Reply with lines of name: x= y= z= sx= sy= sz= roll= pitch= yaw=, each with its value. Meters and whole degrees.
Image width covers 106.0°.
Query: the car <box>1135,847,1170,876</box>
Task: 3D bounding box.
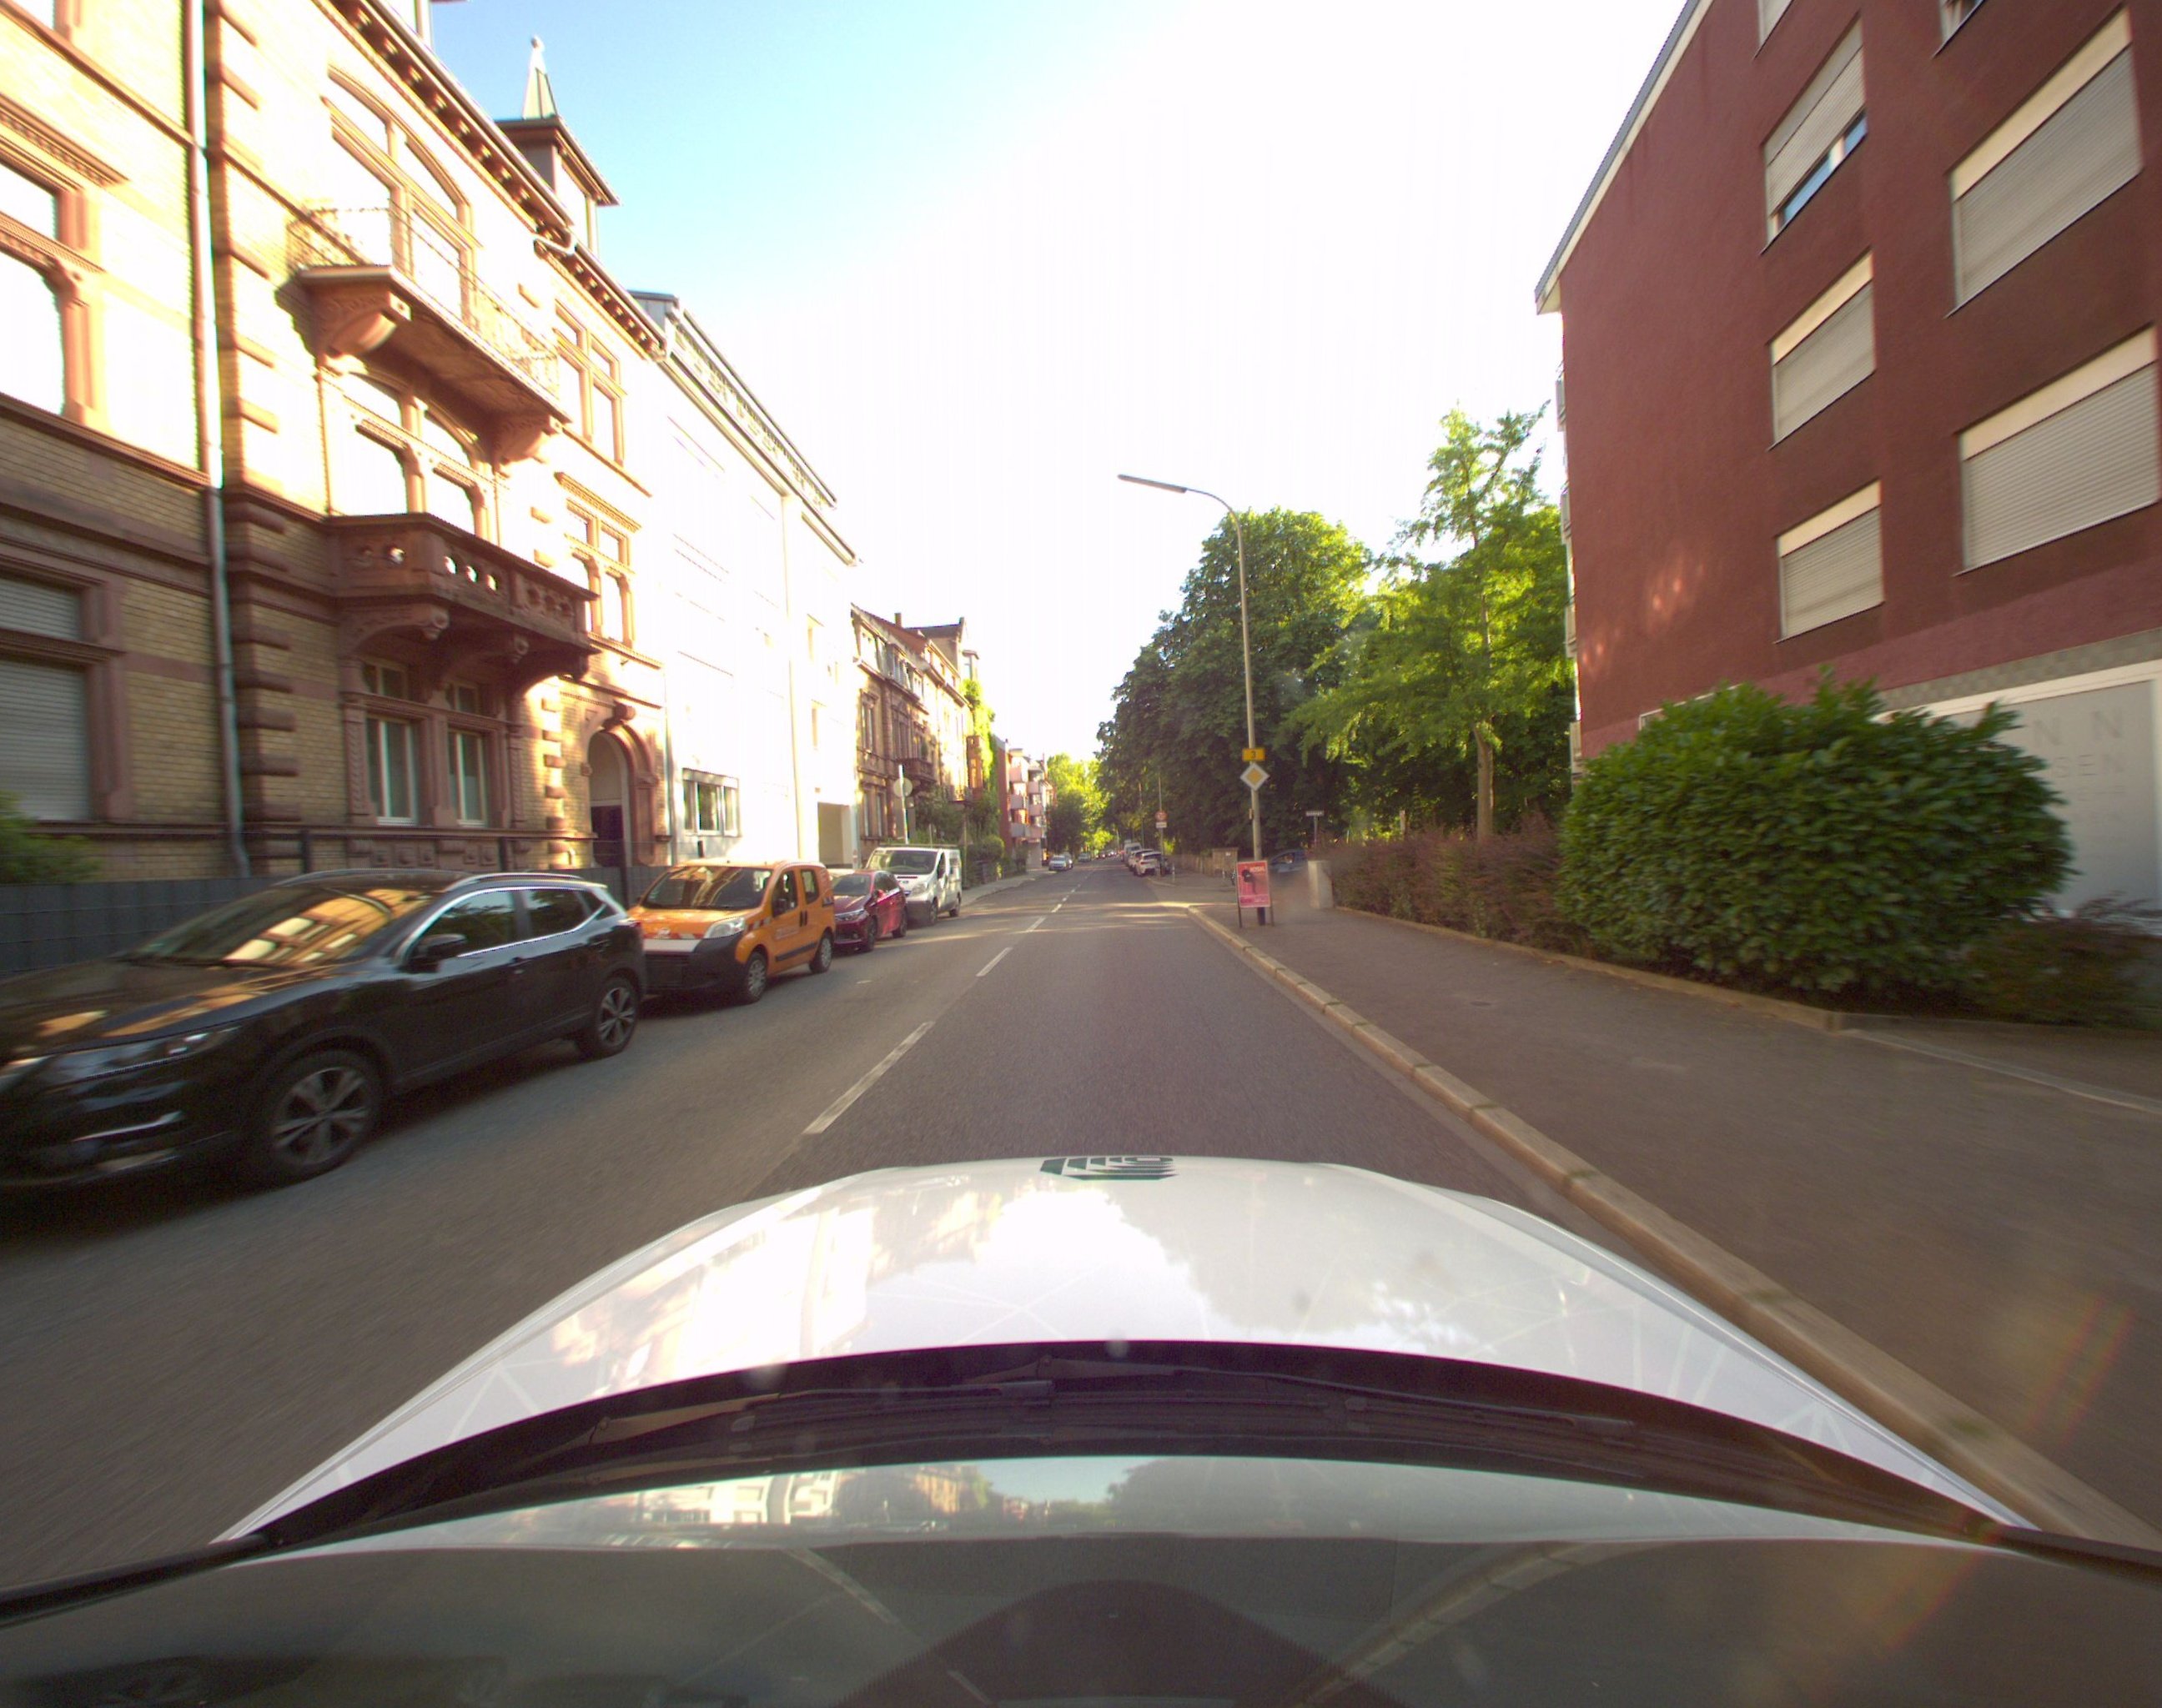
car: x=4.366 y=0.437 z=50.410 sx=1.985 sy=1.517 sz=4.004 roll=-3 pitch=1 yaw=3

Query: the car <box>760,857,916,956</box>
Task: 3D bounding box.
car: x=-4.559 y=0.899 z=15.930 sx=1.696 sy=1.619 sz=4.118 roll=-1 pitch=0 yaw=1

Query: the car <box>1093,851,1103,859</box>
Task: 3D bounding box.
car: x=3.725 y=0.118 z=176.698 sx=1.986 sy=1.491 sz=4.473 roll=-3 pitch=1 yaw=2

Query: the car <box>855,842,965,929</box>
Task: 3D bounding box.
car: x=-4.361 y=0.722 z=21.553 sx=1.786 sy=2.010 sz=4.698 roll=-1 pitch=0 yaw=1

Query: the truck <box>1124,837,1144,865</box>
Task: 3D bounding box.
truck: x=5.946 y=-0.395 z=91.584 sx=1.986 sy=2.896 sz=4.472 roll=-3 pitch=1 yaw=2

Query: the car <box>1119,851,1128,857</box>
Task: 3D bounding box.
car: x=11.145 y=0.020 z=215.806 sx=1.988 sy=1.491 sz=4.469 roll=-3 pitch=1 yaw=-1

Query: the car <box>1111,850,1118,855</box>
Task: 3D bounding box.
car: x=10.311 y=-0.491 z=248.756 sx=1.986 sy=1.491 sz=4.473 roll=-3 pitch=1 yaw=2

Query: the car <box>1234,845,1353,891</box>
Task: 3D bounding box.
car: x=8.322 y=0.545 z=32.326 sx=4.409 sy=1.653 sz=2.006 roll=-1 pitch=1 yaw=10

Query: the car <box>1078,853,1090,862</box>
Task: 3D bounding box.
car: x=0.622 y=0.645 z=149.537 sx=1.986 sy=1.491 sz=4.473 roll=-3 pitch=1 yaw=2

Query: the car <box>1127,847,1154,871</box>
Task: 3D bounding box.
car: x=4.849 y=0.357 z=66.457 sx=1.985 sy=1.737 sz=4.004 roll=-3 pitch=1 yaw=3

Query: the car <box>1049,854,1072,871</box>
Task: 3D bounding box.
car: x=-2.056 y=0.884 z=82.923 sx=1.986 sy=1.491 sz=4.473 roll=-3 pitch=1 yaw=2

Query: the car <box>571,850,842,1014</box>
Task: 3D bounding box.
car: x=-4.621 y=0.833 z=10.748 sx=1.696 sy=1.738 sz=3.857 roll=-1 pitch=0 yaw=1

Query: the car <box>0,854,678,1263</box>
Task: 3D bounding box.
car: x=-4.887 y=0.886 z=5.710 sx=1.695 sy=1.707 sz=4.444 roll=-1 pitch=0 yaw=3

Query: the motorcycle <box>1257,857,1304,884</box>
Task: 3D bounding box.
motorcycle: x=8.766 y=0.733 z=35.890 sx=1.897 sy=1.112 sz=0.791 roll=-1 pitch=1 yaw=4

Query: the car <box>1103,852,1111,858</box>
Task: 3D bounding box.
car: x=6.589 y=0.237 z=206.895 sx=1.986 sy=1.491 sz=4.473 roll=-3 pitch=1 yaw=2

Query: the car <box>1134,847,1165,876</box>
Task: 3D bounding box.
car: x=4.650 y=0.468 z=55.897 sx=1.985 sy=1.737 sz=4.004 roll=-3 pitch=1 yaw=3
